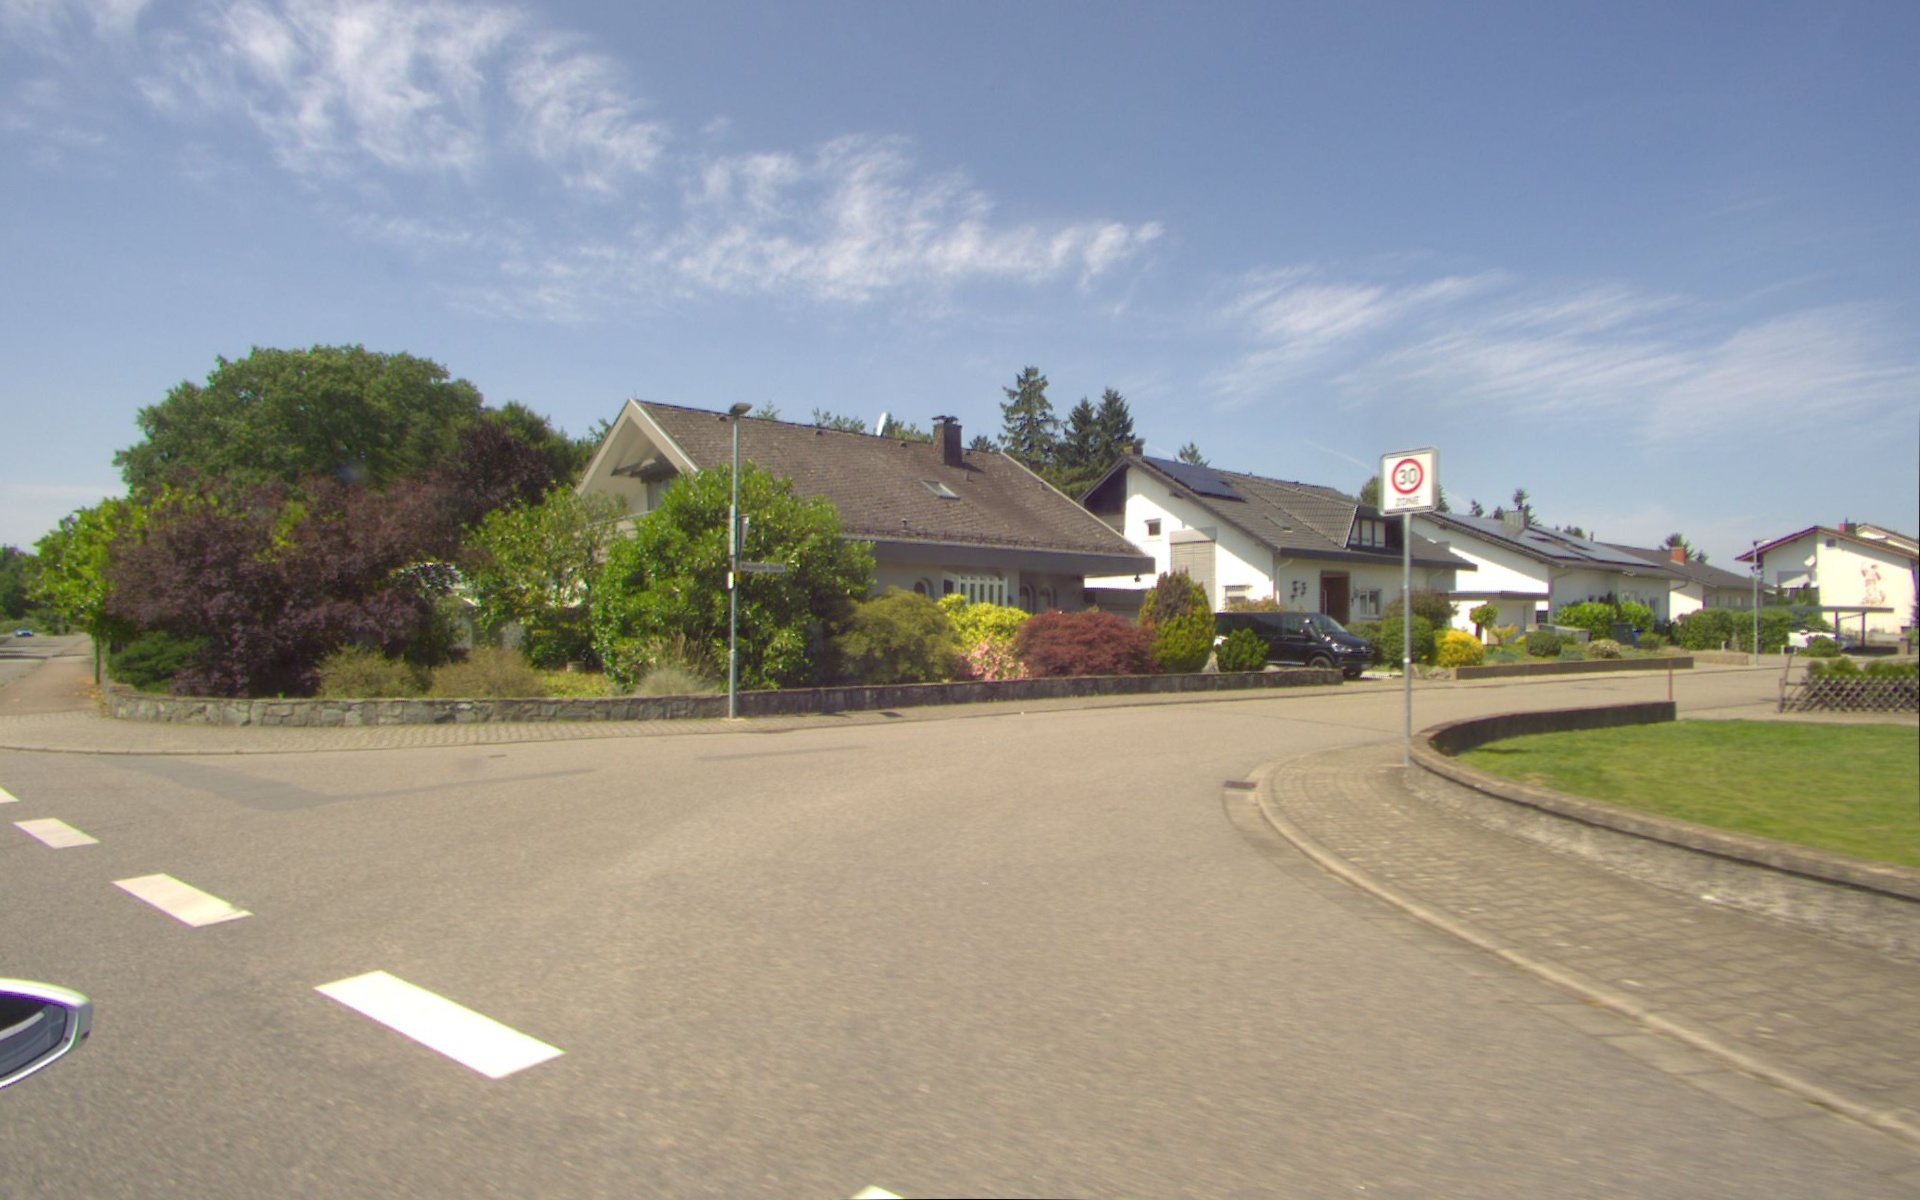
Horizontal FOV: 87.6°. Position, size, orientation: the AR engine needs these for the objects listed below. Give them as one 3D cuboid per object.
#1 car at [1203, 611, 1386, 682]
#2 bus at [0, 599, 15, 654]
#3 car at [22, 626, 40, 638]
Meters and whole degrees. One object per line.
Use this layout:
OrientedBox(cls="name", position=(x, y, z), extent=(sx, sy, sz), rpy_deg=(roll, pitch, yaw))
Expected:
OrientedBox(cls="car", position=(9.817, 1.327, 29.738), extent=(1.907, 1.940, 4.926), rpy_deg=(1, -1, -40))
OrientedBox(cls="bus", position=(-59.839, 1.601, 60.398), extent=(3.155, 3.286, 12.611), rpy_deg=(0, -2, -39))
OrientedBox(cls="car", position=(-145.281, 4.994, 156.593), extent=(1.938, 1.884, 3.961), rpy_deg=(1, -2, -44))
